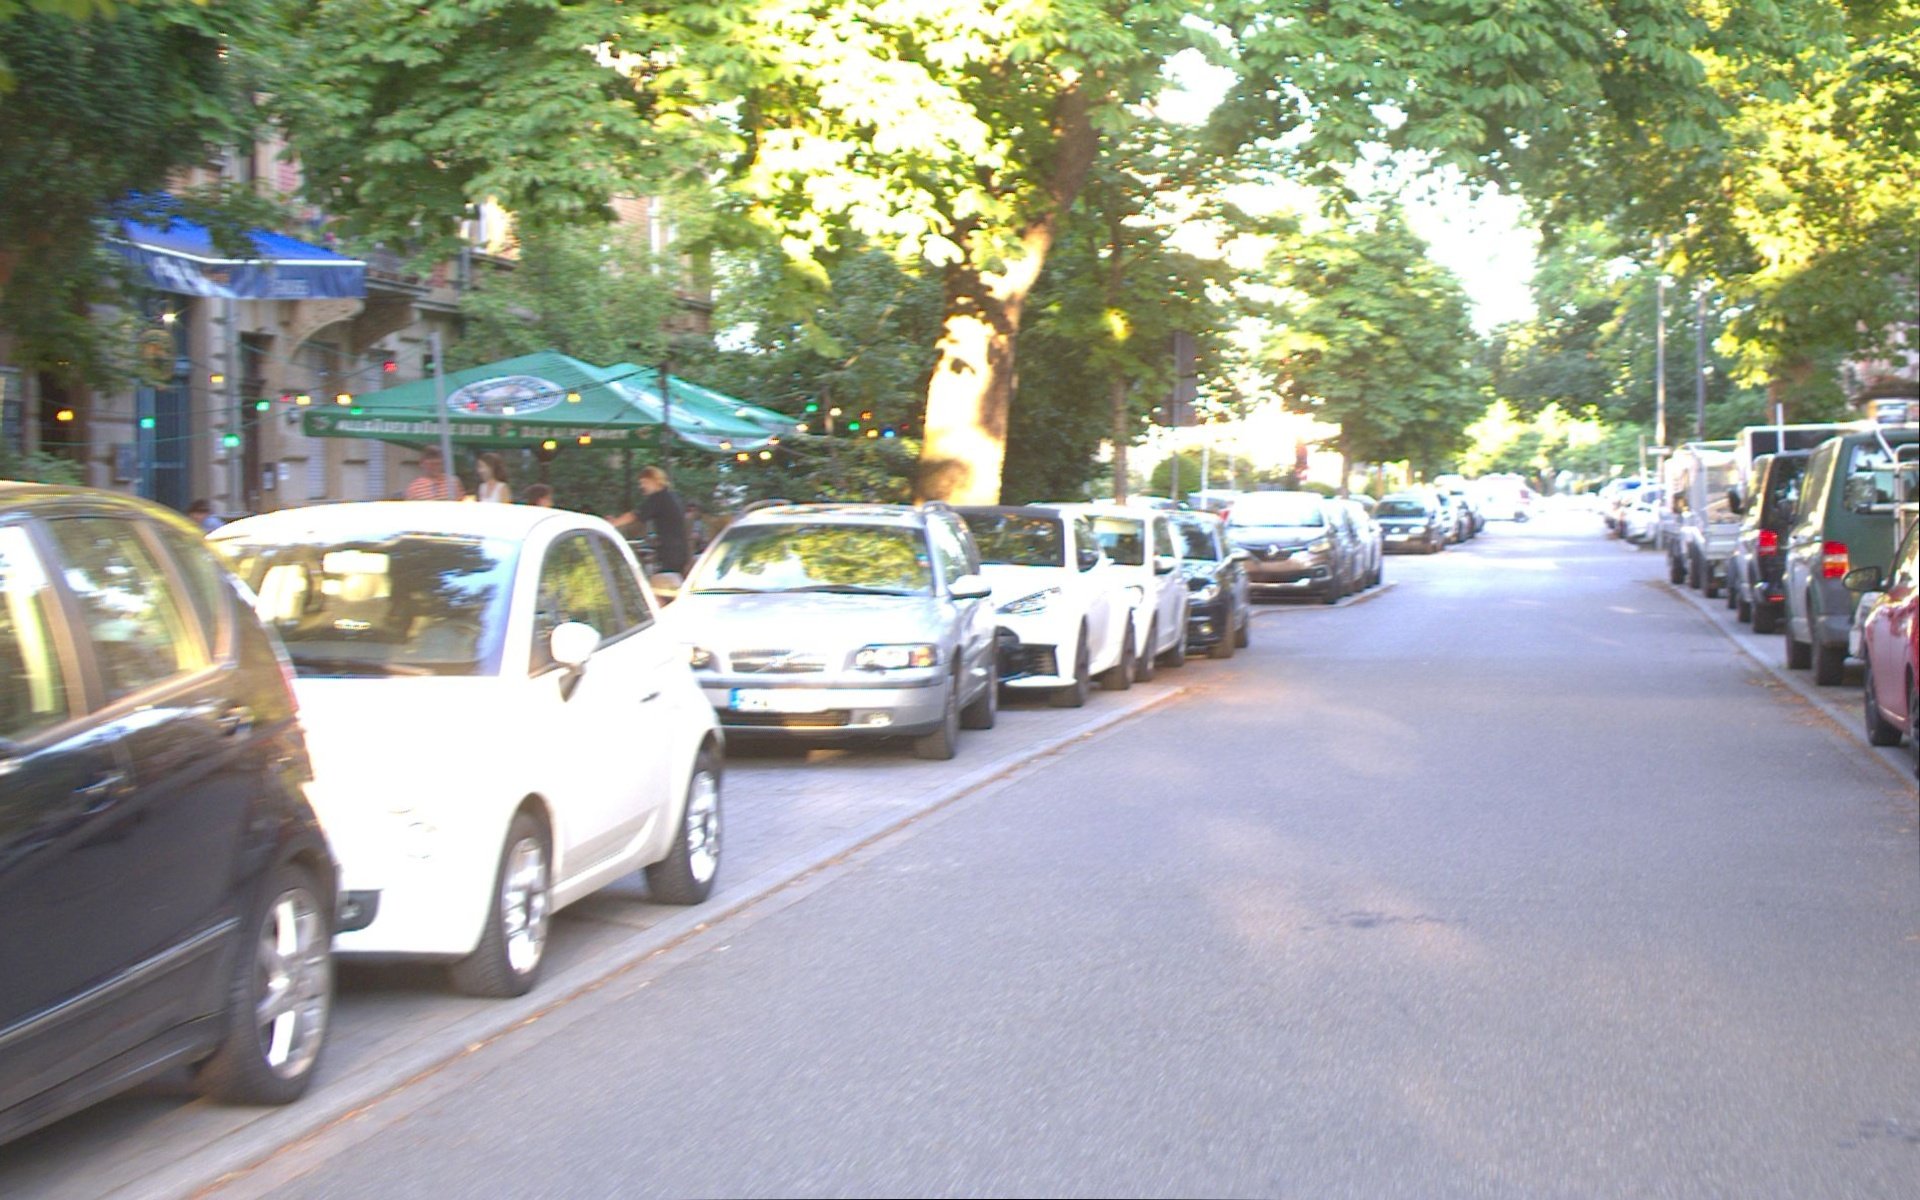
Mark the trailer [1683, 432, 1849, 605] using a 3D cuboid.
[{"bbox_3d":[11.598,-1.201,49.716,1.955,2.287,4.643,-3,1,10],"label":"trailer"}]

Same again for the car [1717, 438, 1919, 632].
[{"bbox_3d":[9.533,-0.774,38.188,1.839,1.936,4.612,-3,2,9],"label":"car"}]

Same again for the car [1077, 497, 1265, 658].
[{"bbox_3d":[2.175,-0.264,34.653,1.552,1.480,3.693,-1,2,9],"label":"car"}]

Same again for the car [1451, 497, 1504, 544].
[{"bbox_3d":[17.715,-2.749,117.599,1.716,1.561,3.787,0,2,10],"label":"car"}]

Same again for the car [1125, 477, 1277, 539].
[{"bbox_3d":[6.836,-2.608,97.247,4.094,1.522,1.708,3,2,9],"label":"car"}]

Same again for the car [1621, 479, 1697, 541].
[{"bbox_3d":[20.051,-2.578,98.758,1.798,1.705,4.600,-1,1,8],"label":"car"}]

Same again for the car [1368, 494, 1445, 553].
[{"bbox_3d":[11.540,-1.992,88.692,1.617,1.465,3.959,0,2,13],"label":"car"}]

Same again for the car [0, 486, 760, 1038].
[{"bbox_3d":[-1.919,0.396,11.705,1.665,1.488,3.709,2,3,9],"label":"car"}]

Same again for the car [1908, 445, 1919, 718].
[{"bbox_3d":[5.121,0.158,13.813,1.664,1.673,4.120,-3,2,4],"label":"car"}]

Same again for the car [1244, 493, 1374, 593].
[{"bbox_3d":[5.543,-0.912,54.246,1.690,1.497,4.401,1,1,10],"label":"car"}]

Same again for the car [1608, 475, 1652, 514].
[{"bbox_3d":[26.778,-4.217,137.489,1.539,1.516,3.431,0,1,8],"label":"car"}]

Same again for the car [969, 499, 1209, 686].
[{"bbox_3d":[1.210,-0.118,30.776,1.552,1.480,3.692,3,3,11],"label":"car"}]

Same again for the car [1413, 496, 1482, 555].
[{"bbox_3d":[14.827,-2.281,104.479,1.922,1.711,4.426,0,2,10],"label":"car"}]

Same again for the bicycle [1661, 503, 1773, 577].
[{"bbox_3d":[13.691,-1.089,62.202,1.902,1.254,0.407,-3,1,5],"label":"bicycle"}]

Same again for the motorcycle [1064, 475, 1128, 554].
[{"bbox_3d":[2.159,-1.370,54.408,0.582,1.152,2.891,2,3,10],"label":"motorcycle"}]

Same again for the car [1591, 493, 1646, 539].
[{"bbox_3d":[23.291,-2.978,121.744,1.687,1.600,3.939,0,1,8],"label":"car"}]

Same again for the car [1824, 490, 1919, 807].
[{"bbox_3d":[5.743,0.156,18.553,1.665,1.494,3.693,-3,2,8],"label":"car"}]

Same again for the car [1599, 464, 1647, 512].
[{"bbox_3d":[27.257,-4.578,141.422,1.680,1.934,3.879,0,1,8],"label":"car"}]

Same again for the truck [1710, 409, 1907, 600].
[{"bbox_3d":[10.875,-1.263,44.335,1.955,2.238,4.643,-3,2,9],"label":"truck"}]

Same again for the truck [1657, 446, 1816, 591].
[{"bbox_3d":[12.733,-1.340,56.712,1.978,2.237,6.775,0,1,8],"label":"truck"}]

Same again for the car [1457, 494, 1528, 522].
[{"bbox_3d":[28.173,-4.864,181.974,3.619,1.456,1.606,0,2,7],"label":"car"}]

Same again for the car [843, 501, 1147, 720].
[{"bbox_3d":[0.339,0.016,25.986,1.604,1.430,3.884,3,3,10],"label":"car"}]

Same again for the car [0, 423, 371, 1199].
[{"bbox_3d":[-2.698,0.439,7.360,1.665,1.671,3.846,2,2,9],"label":"car"}]

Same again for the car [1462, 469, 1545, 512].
[{"bbox_3d":[29.167,-5.889,184.535,4.351,2.310,1.745,0,2,9],"label":"car"}]

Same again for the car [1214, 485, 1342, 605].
[{"bbox_3d":[4.609,-0.835,49.433,1.690,1.558,4.402,2,2,6],"label":"car"}]

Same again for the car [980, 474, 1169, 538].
[{"bbox_3d":[2.672,-2.212,80.309,4.096,1.442,1.708,1,3,19],"label":"car"}]

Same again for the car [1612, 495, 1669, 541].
[{"bbox_3d":[22.475,-2.712,113.584,1.687,1.436,4.208,-2,1,10],"label":"car"}]

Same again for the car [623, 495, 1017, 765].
[{"bbox_3d":[-0.723,0.098,20.907,1.840,1.406,4.600,0,2,5],"label":"car"}]

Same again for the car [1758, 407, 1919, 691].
[{"bbox_3d":[7.629,-0.498,27.602,1.955,2.051,4.829,-3,2,9],"label":"car"}]
